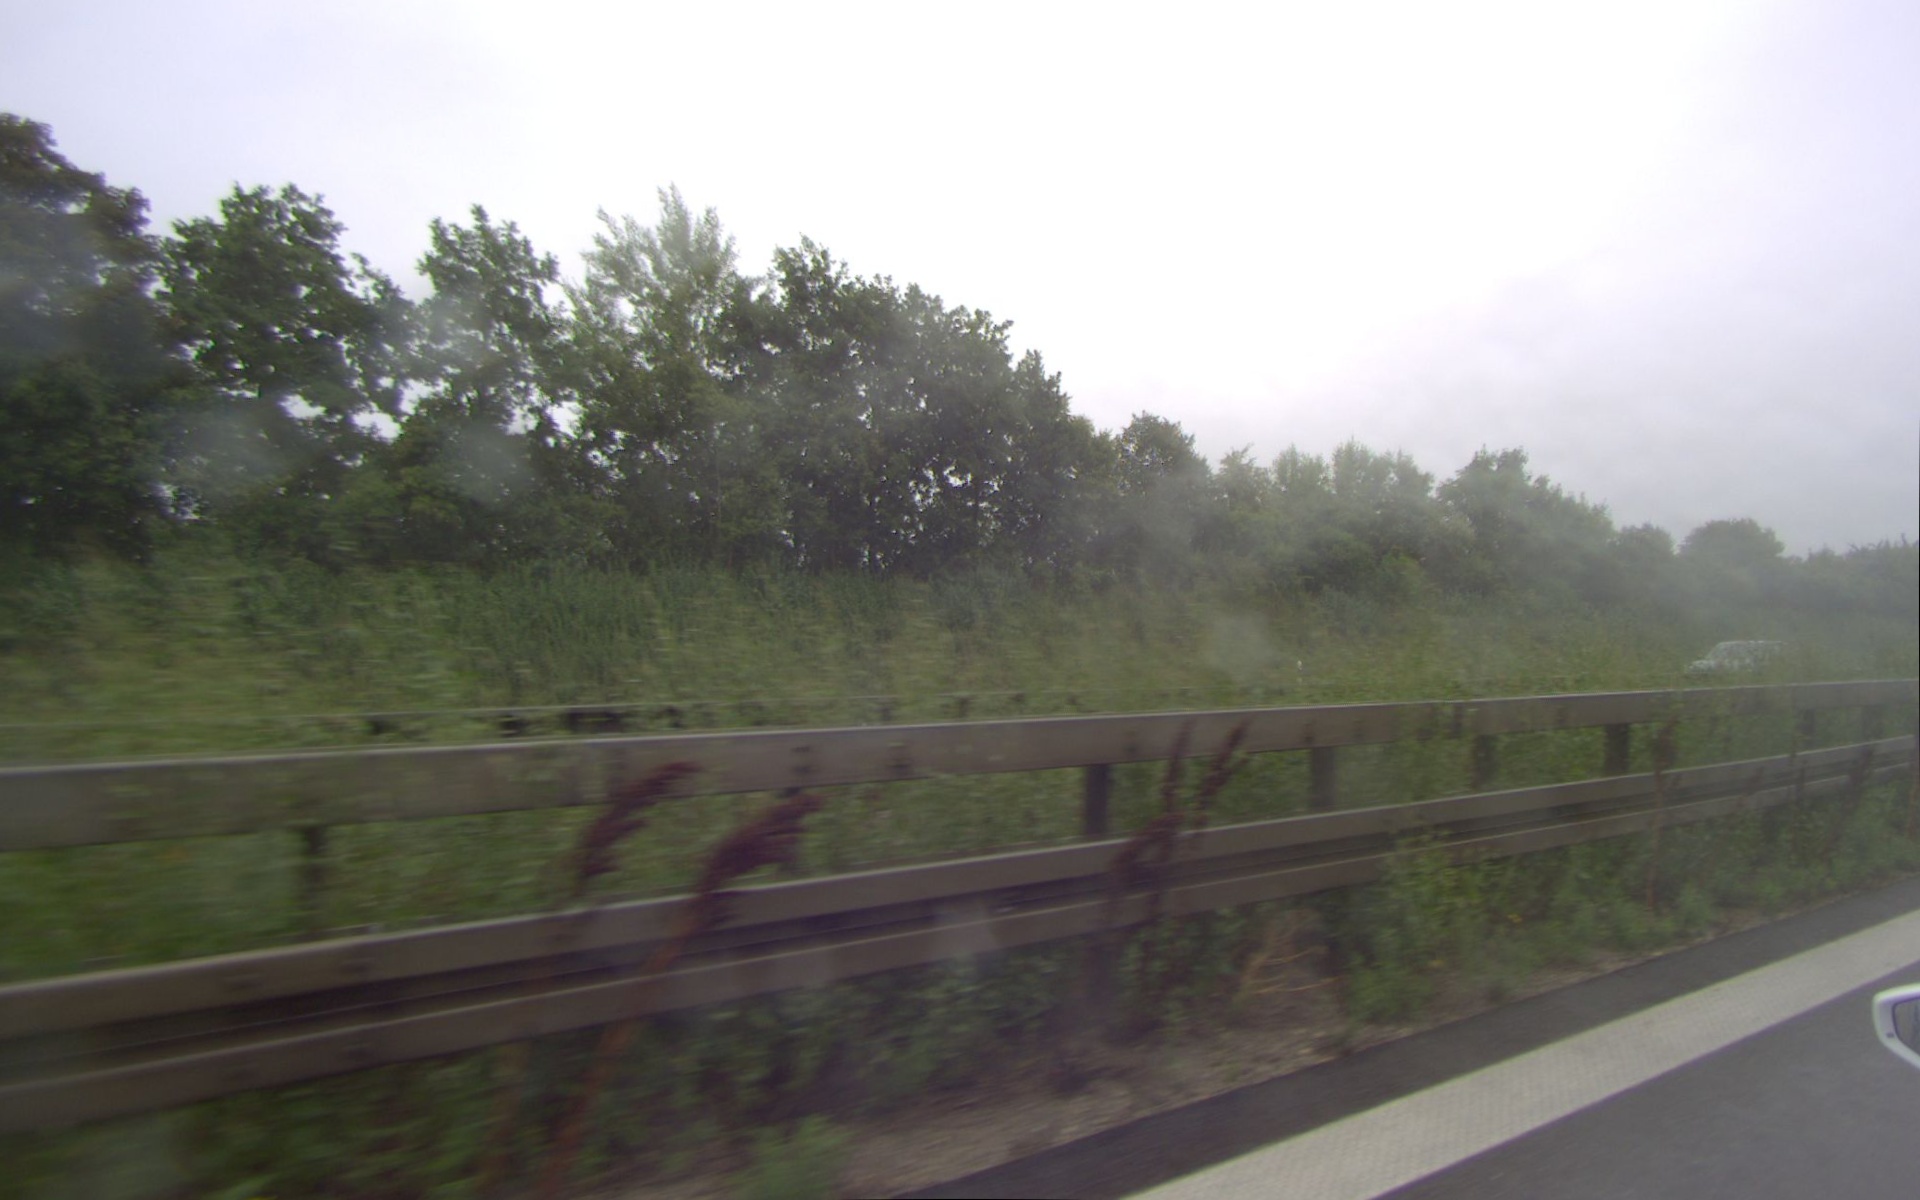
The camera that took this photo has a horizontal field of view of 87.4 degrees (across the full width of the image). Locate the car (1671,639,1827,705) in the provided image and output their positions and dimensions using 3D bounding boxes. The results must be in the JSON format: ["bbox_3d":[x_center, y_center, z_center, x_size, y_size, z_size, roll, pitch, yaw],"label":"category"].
[{"bbox_3d":[22.085,1.946,28.063,4.901,1.705,1.787,1,-2,-31],"label":"car"}]
